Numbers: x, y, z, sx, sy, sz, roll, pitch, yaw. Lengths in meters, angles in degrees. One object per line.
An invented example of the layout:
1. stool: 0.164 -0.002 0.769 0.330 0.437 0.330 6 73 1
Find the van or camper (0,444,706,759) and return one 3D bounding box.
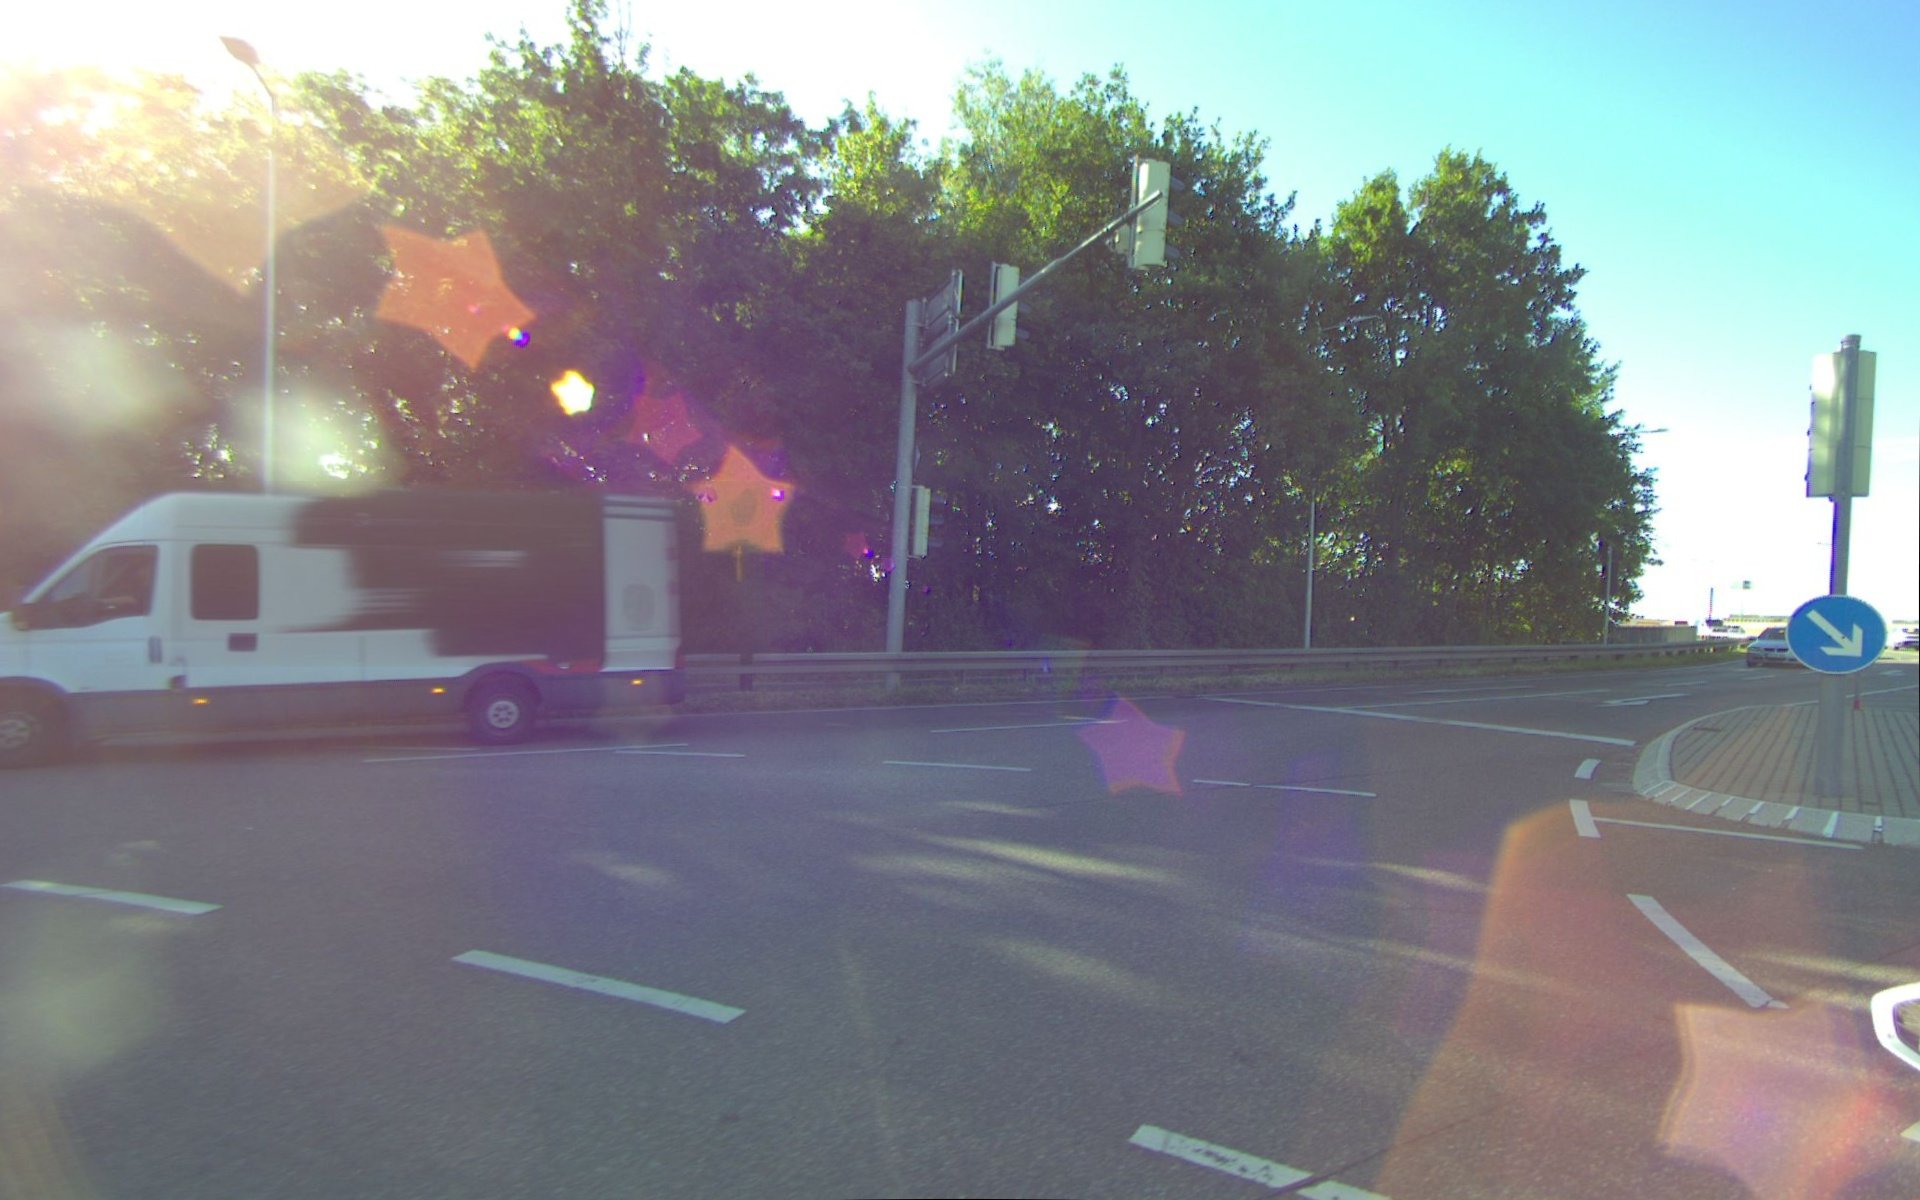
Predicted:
1. van or camper: -6.414 0.095 10.810 6.846 2.708 2.042 1 -2 -28

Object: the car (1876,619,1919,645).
1. car: 58.818 1.999 62.497 1.941 1.494 4.144 1 0 32

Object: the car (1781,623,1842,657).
1. car: 39.894 1.850 47.134 2.071 1.409 4.390 2 0 39

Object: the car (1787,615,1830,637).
1. car: 68.916 2.084 81.658 1.940 1.721 3.992 1 0 30

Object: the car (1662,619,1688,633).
1. car: 78.821 2.883 110.769 1.381 1.471 3.351 1 0 17

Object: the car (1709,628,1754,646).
1. car: 74.818 3.557 97.459 2.228 1.528 4.001 3 0 18

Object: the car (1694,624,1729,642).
1. car: 68.580 2.980 91.756 1.586 1.530 3.557 1 0 21

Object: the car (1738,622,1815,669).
1. car: 28.930 1.549 35.555 1.849 1.494 3.887 2 0 43
